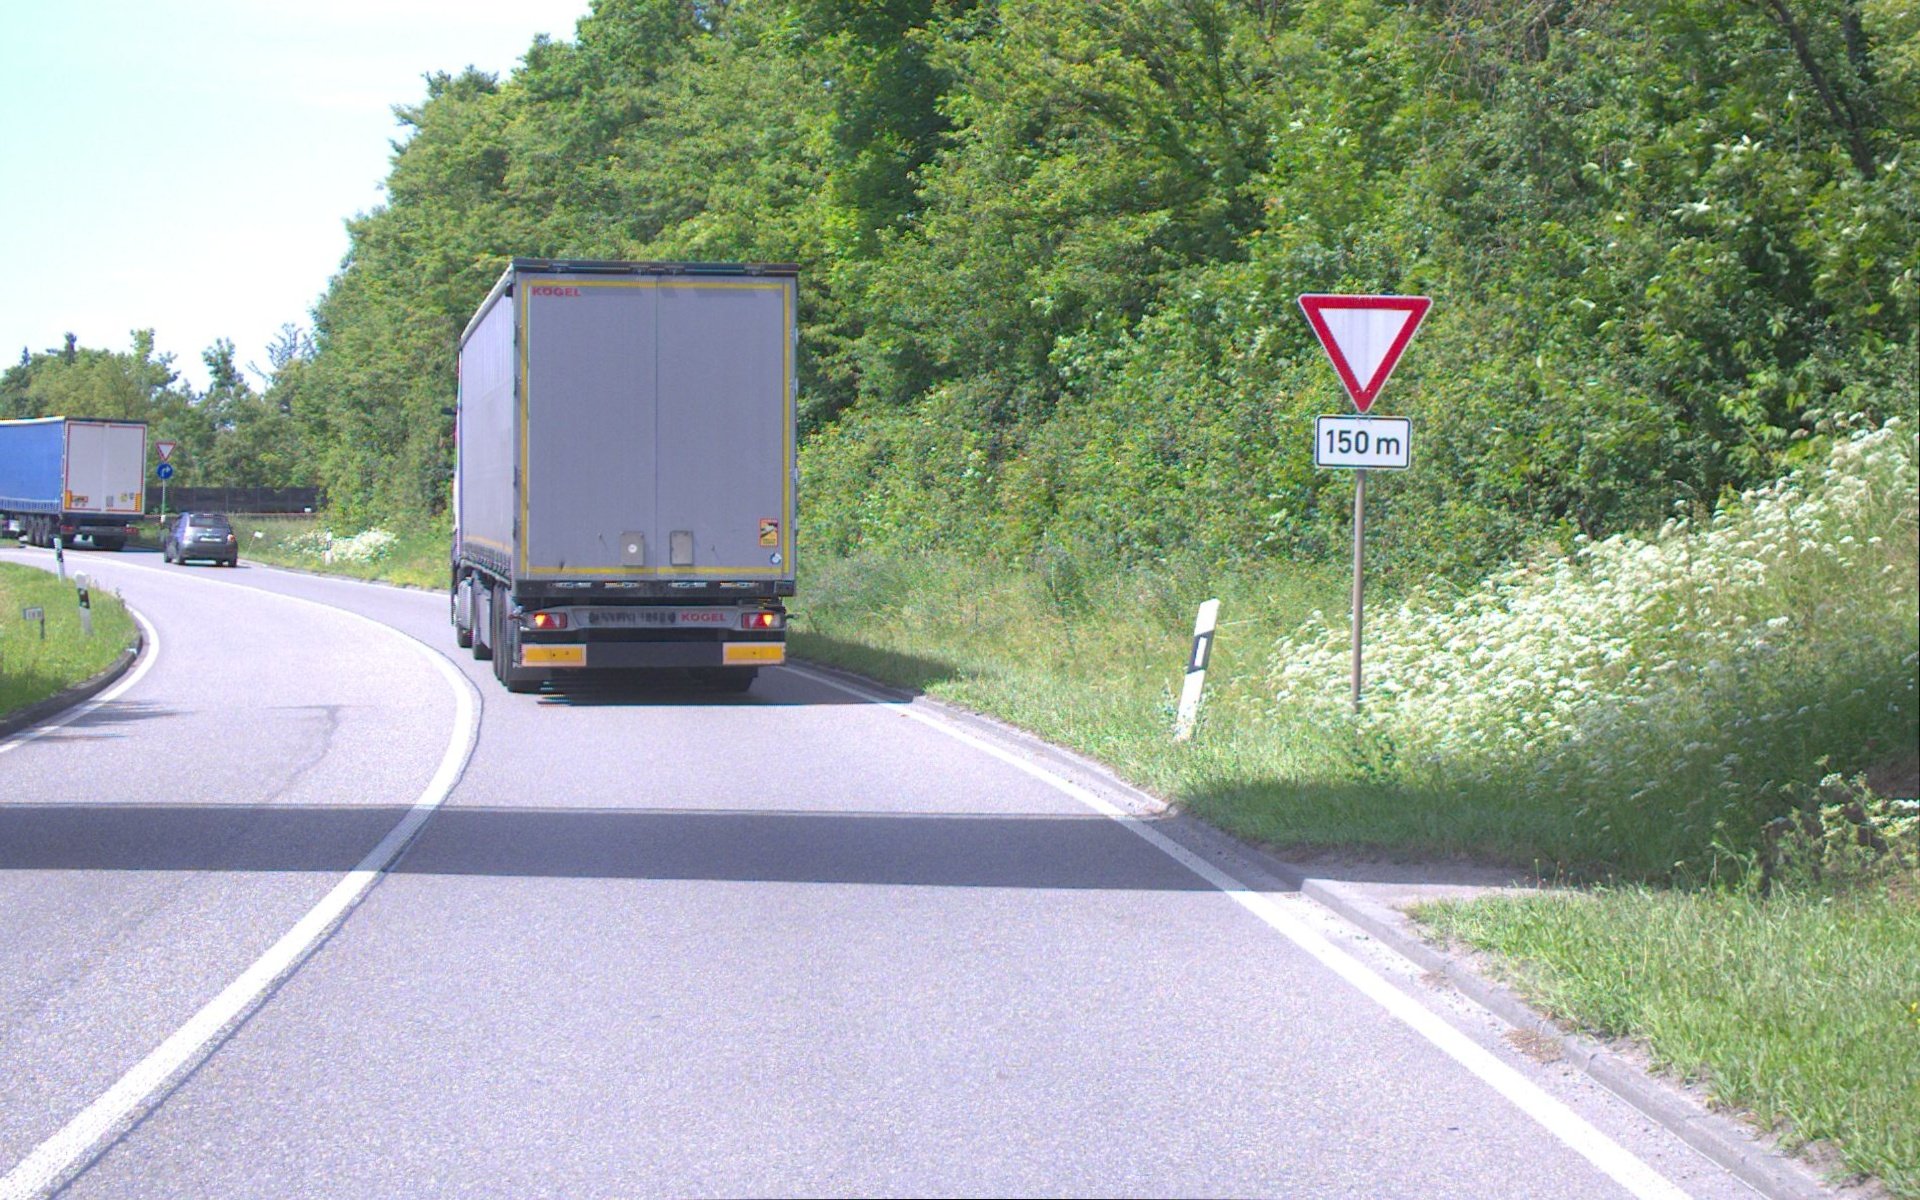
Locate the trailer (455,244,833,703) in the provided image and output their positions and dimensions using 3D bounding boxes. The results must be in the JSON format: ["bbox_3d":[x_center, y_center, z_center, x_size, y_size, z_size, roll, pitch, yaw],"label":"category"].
[{"bbox_3d":[-3.747,-1.241,36.954,3.026,4.021,13.356,0,1,-10],"label":"trailer"}]

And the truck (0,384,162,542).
[{"bbox_3d":[-28.888,-4.382,111.667,3.827,4.728,16.209,0,2,-20],"label":"truck"}]

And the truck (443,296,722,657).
[{"bbox_3d":[-4.978,-1.510,44.145,3.152,4.210,7.124,1,1,-9],"label":"truck"}]

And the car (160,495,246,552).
[{"bbox_3d":[-20.937,-2.120,95.032,1.665,1.481,4.001,0,2,-22],"label":"car"}]
